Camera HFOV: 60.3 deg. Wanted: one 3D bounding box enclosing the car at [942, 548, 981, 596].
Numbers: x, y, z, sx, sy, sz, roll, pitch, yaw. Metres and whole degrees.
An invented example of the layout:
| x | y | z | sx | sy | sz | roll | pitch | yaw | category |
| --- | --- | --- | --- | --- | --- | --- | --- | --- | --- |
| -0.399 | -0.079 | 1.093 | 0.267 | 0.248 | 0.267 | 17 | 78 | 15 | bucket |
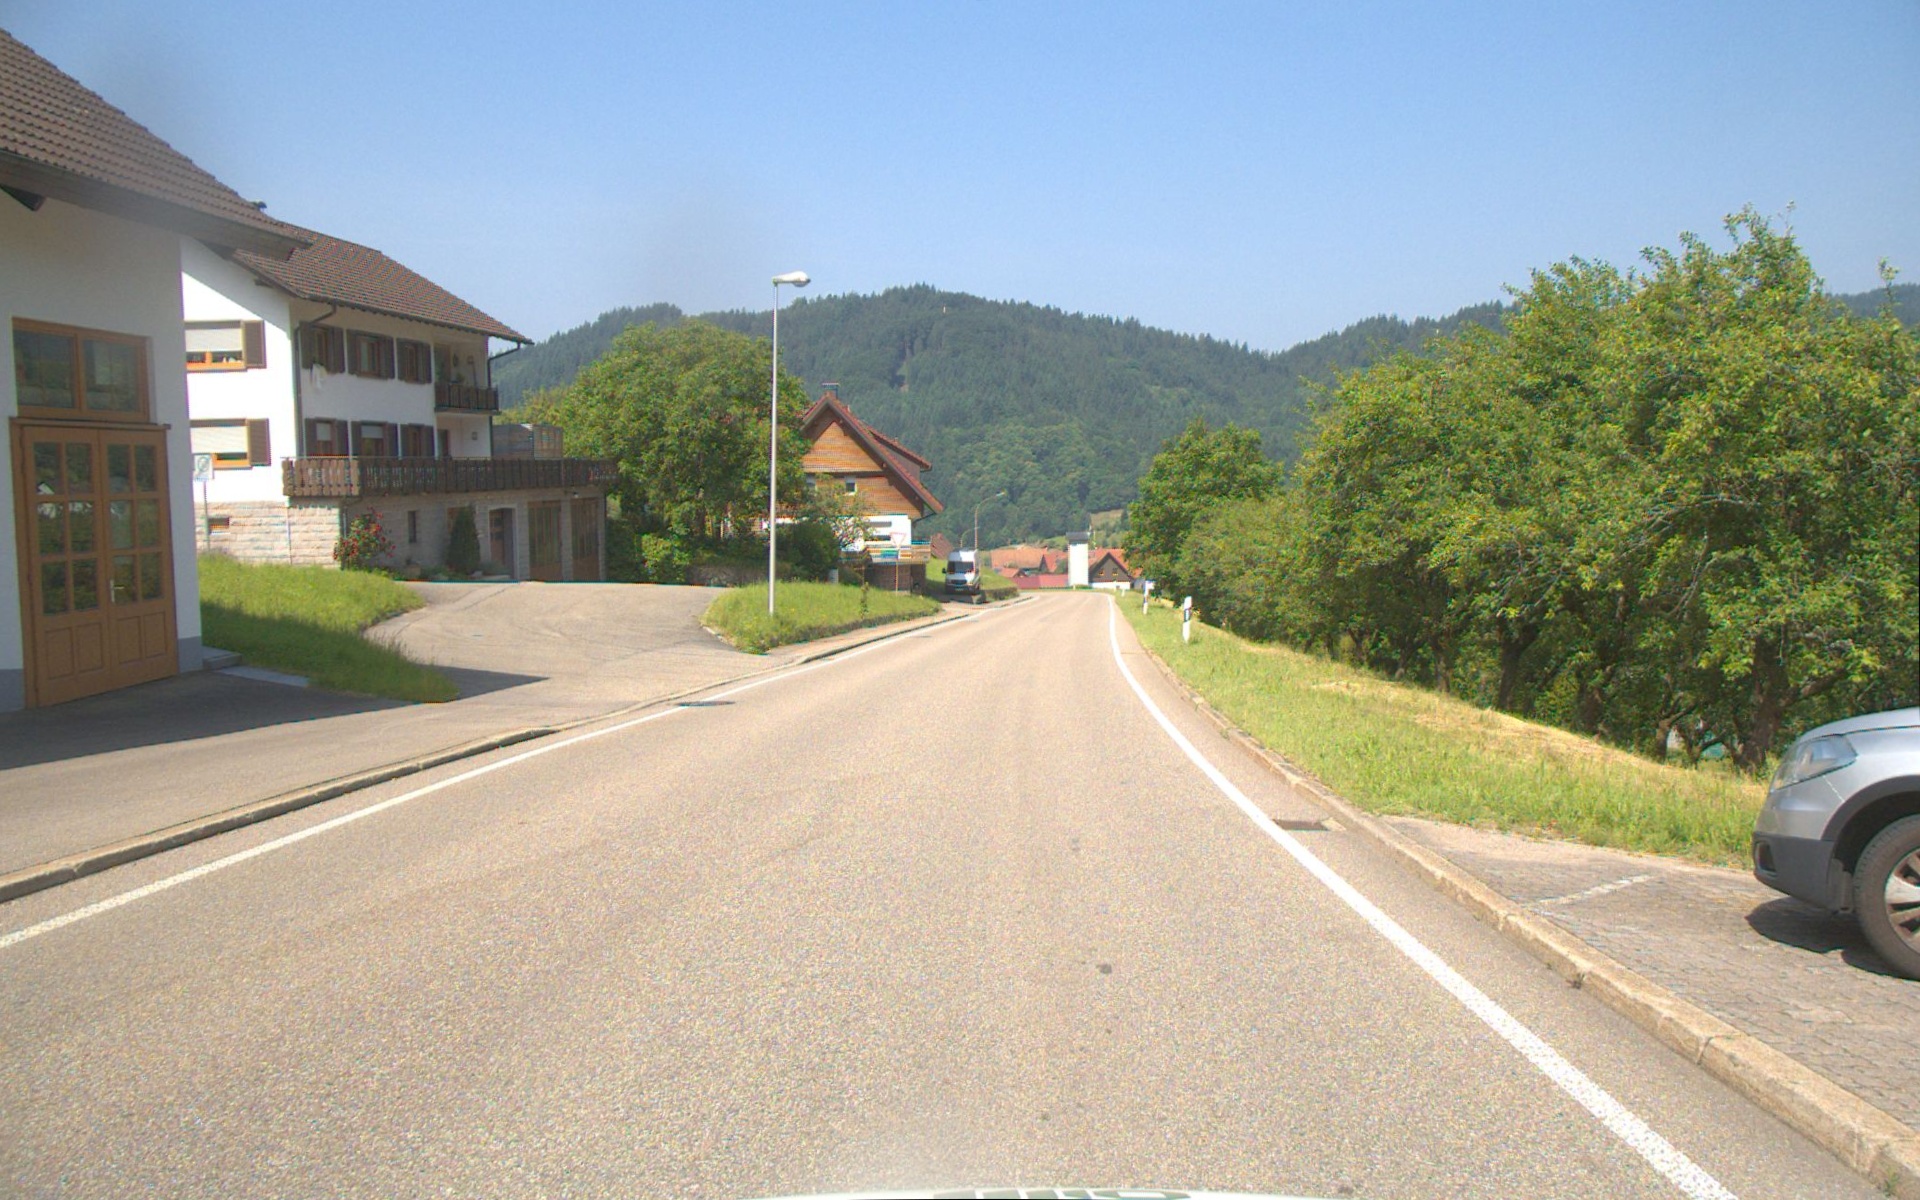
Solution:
| x | y | z | sx | sy | sz | roll | pitch | yaw | category |
| --- | --- | --- | --- | --- | --- | --- | --- | --- | --- |
| 0.138 | -1.850 | 107.207 | 2.024 | 2.734 | 7.181 | -1 | 4 | 4 | car |

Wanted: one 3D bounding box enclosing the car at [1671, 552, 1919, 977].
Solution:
| x | y | z | sx | sy | sz | roll | pitch | yaw | category |
| --- | --- | --- | --- | --- | --- | --- | --- | --- | --- |
| 5.136 | 0.673 | 5.905 | 1.888 | 1.598 | 4.398 | 1 | 1 | -40 | car |
